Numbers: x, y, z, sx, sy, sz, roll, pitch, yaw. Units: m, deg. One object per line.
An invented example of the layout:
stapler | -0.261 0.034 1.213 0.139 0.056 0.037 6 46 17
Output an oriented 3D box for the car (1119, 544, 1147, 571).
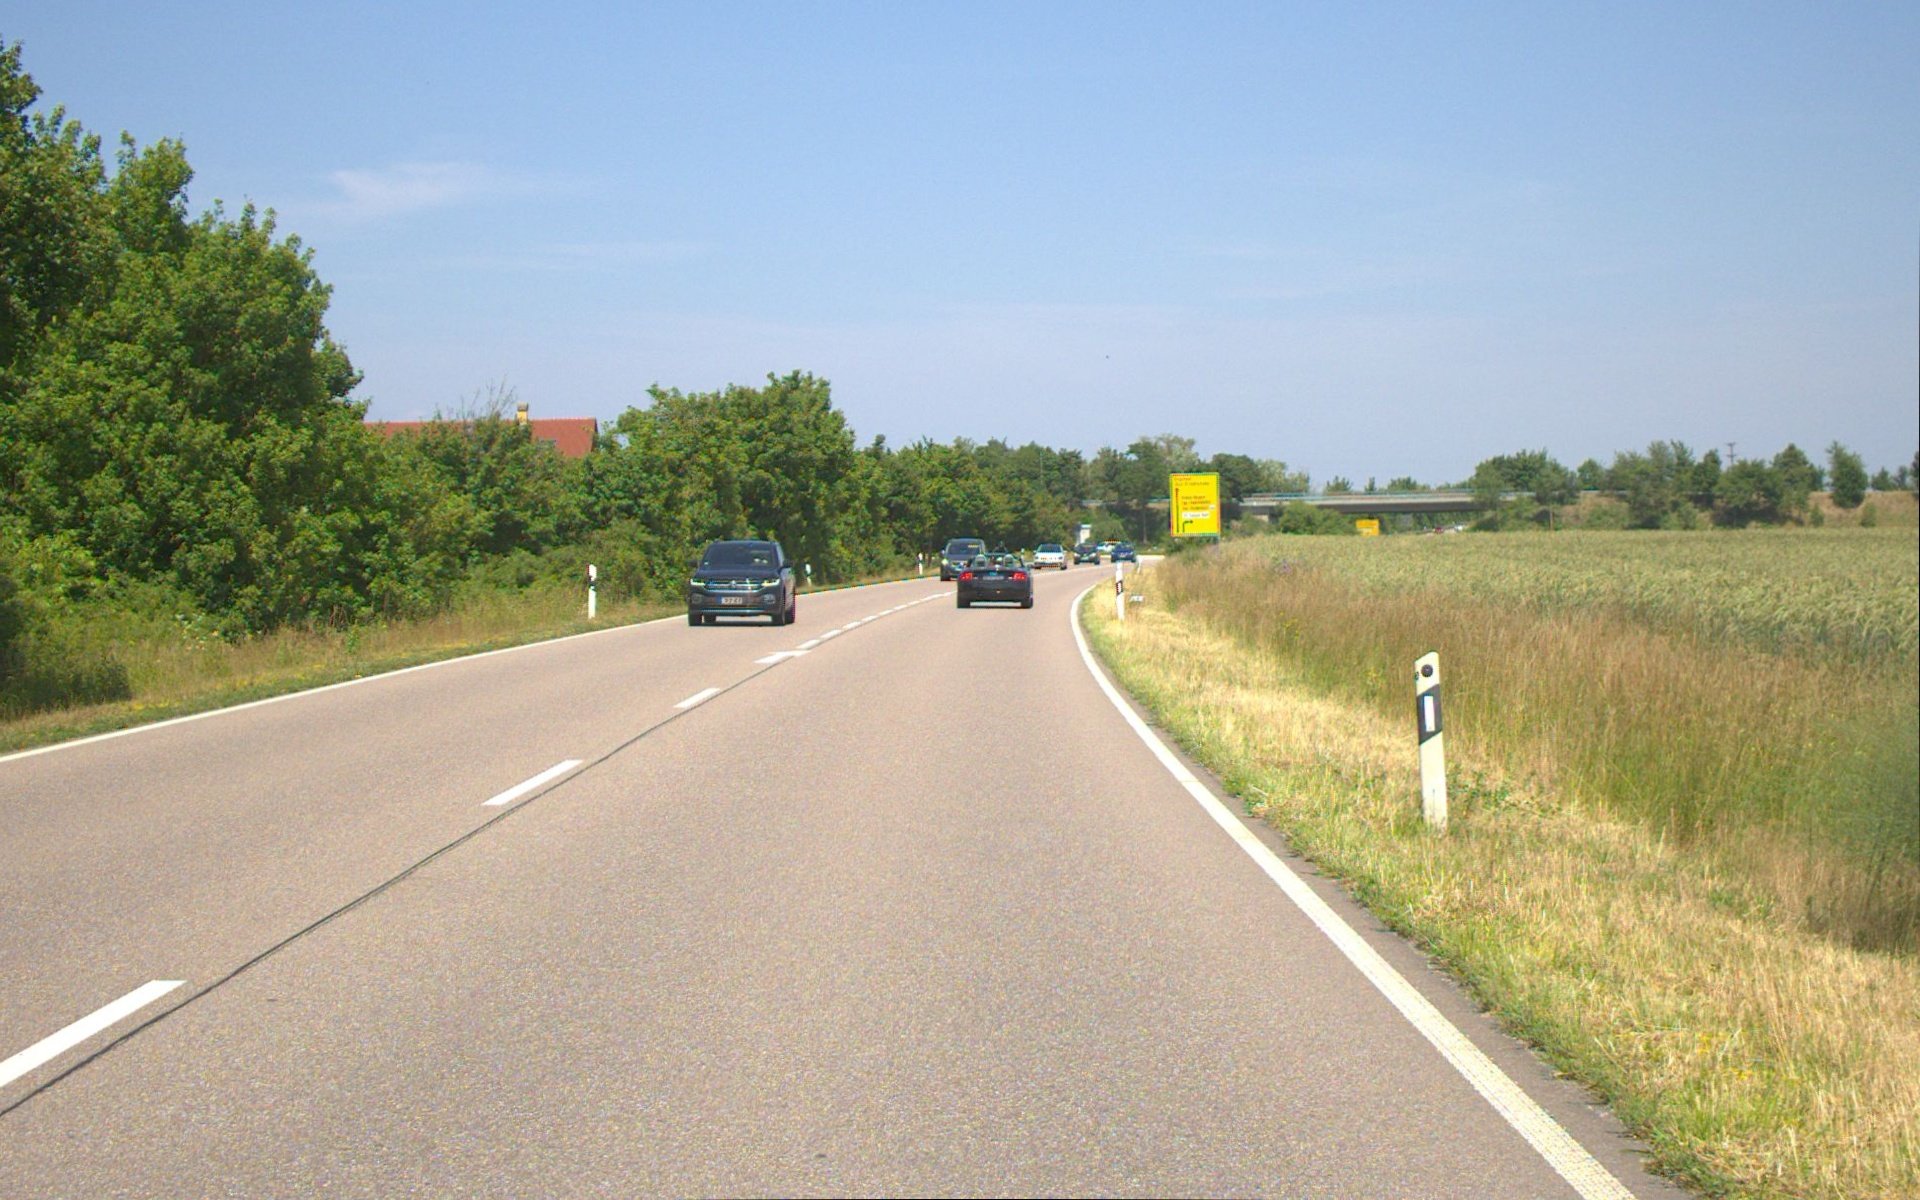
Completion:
car | 13.004 -3.190 258.354 1.994 2.007 4.000 1 1 4

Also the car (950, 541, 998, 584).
car | 0.582 -1.552 140.812 1.819 1.695 5.001 0 1 2

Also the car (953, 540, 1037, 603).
car | 0.863 -0.684 82.041 1.814 1.436 4.000 1 1 3

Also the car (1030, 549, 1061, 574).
car | 4.947 -2.221 197.977 1.707 1.377 3.819 1 1 3

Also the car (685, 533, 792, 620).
car | -4.066 -0.451 63.549 1.699 1.561 3.671 0 1 0
